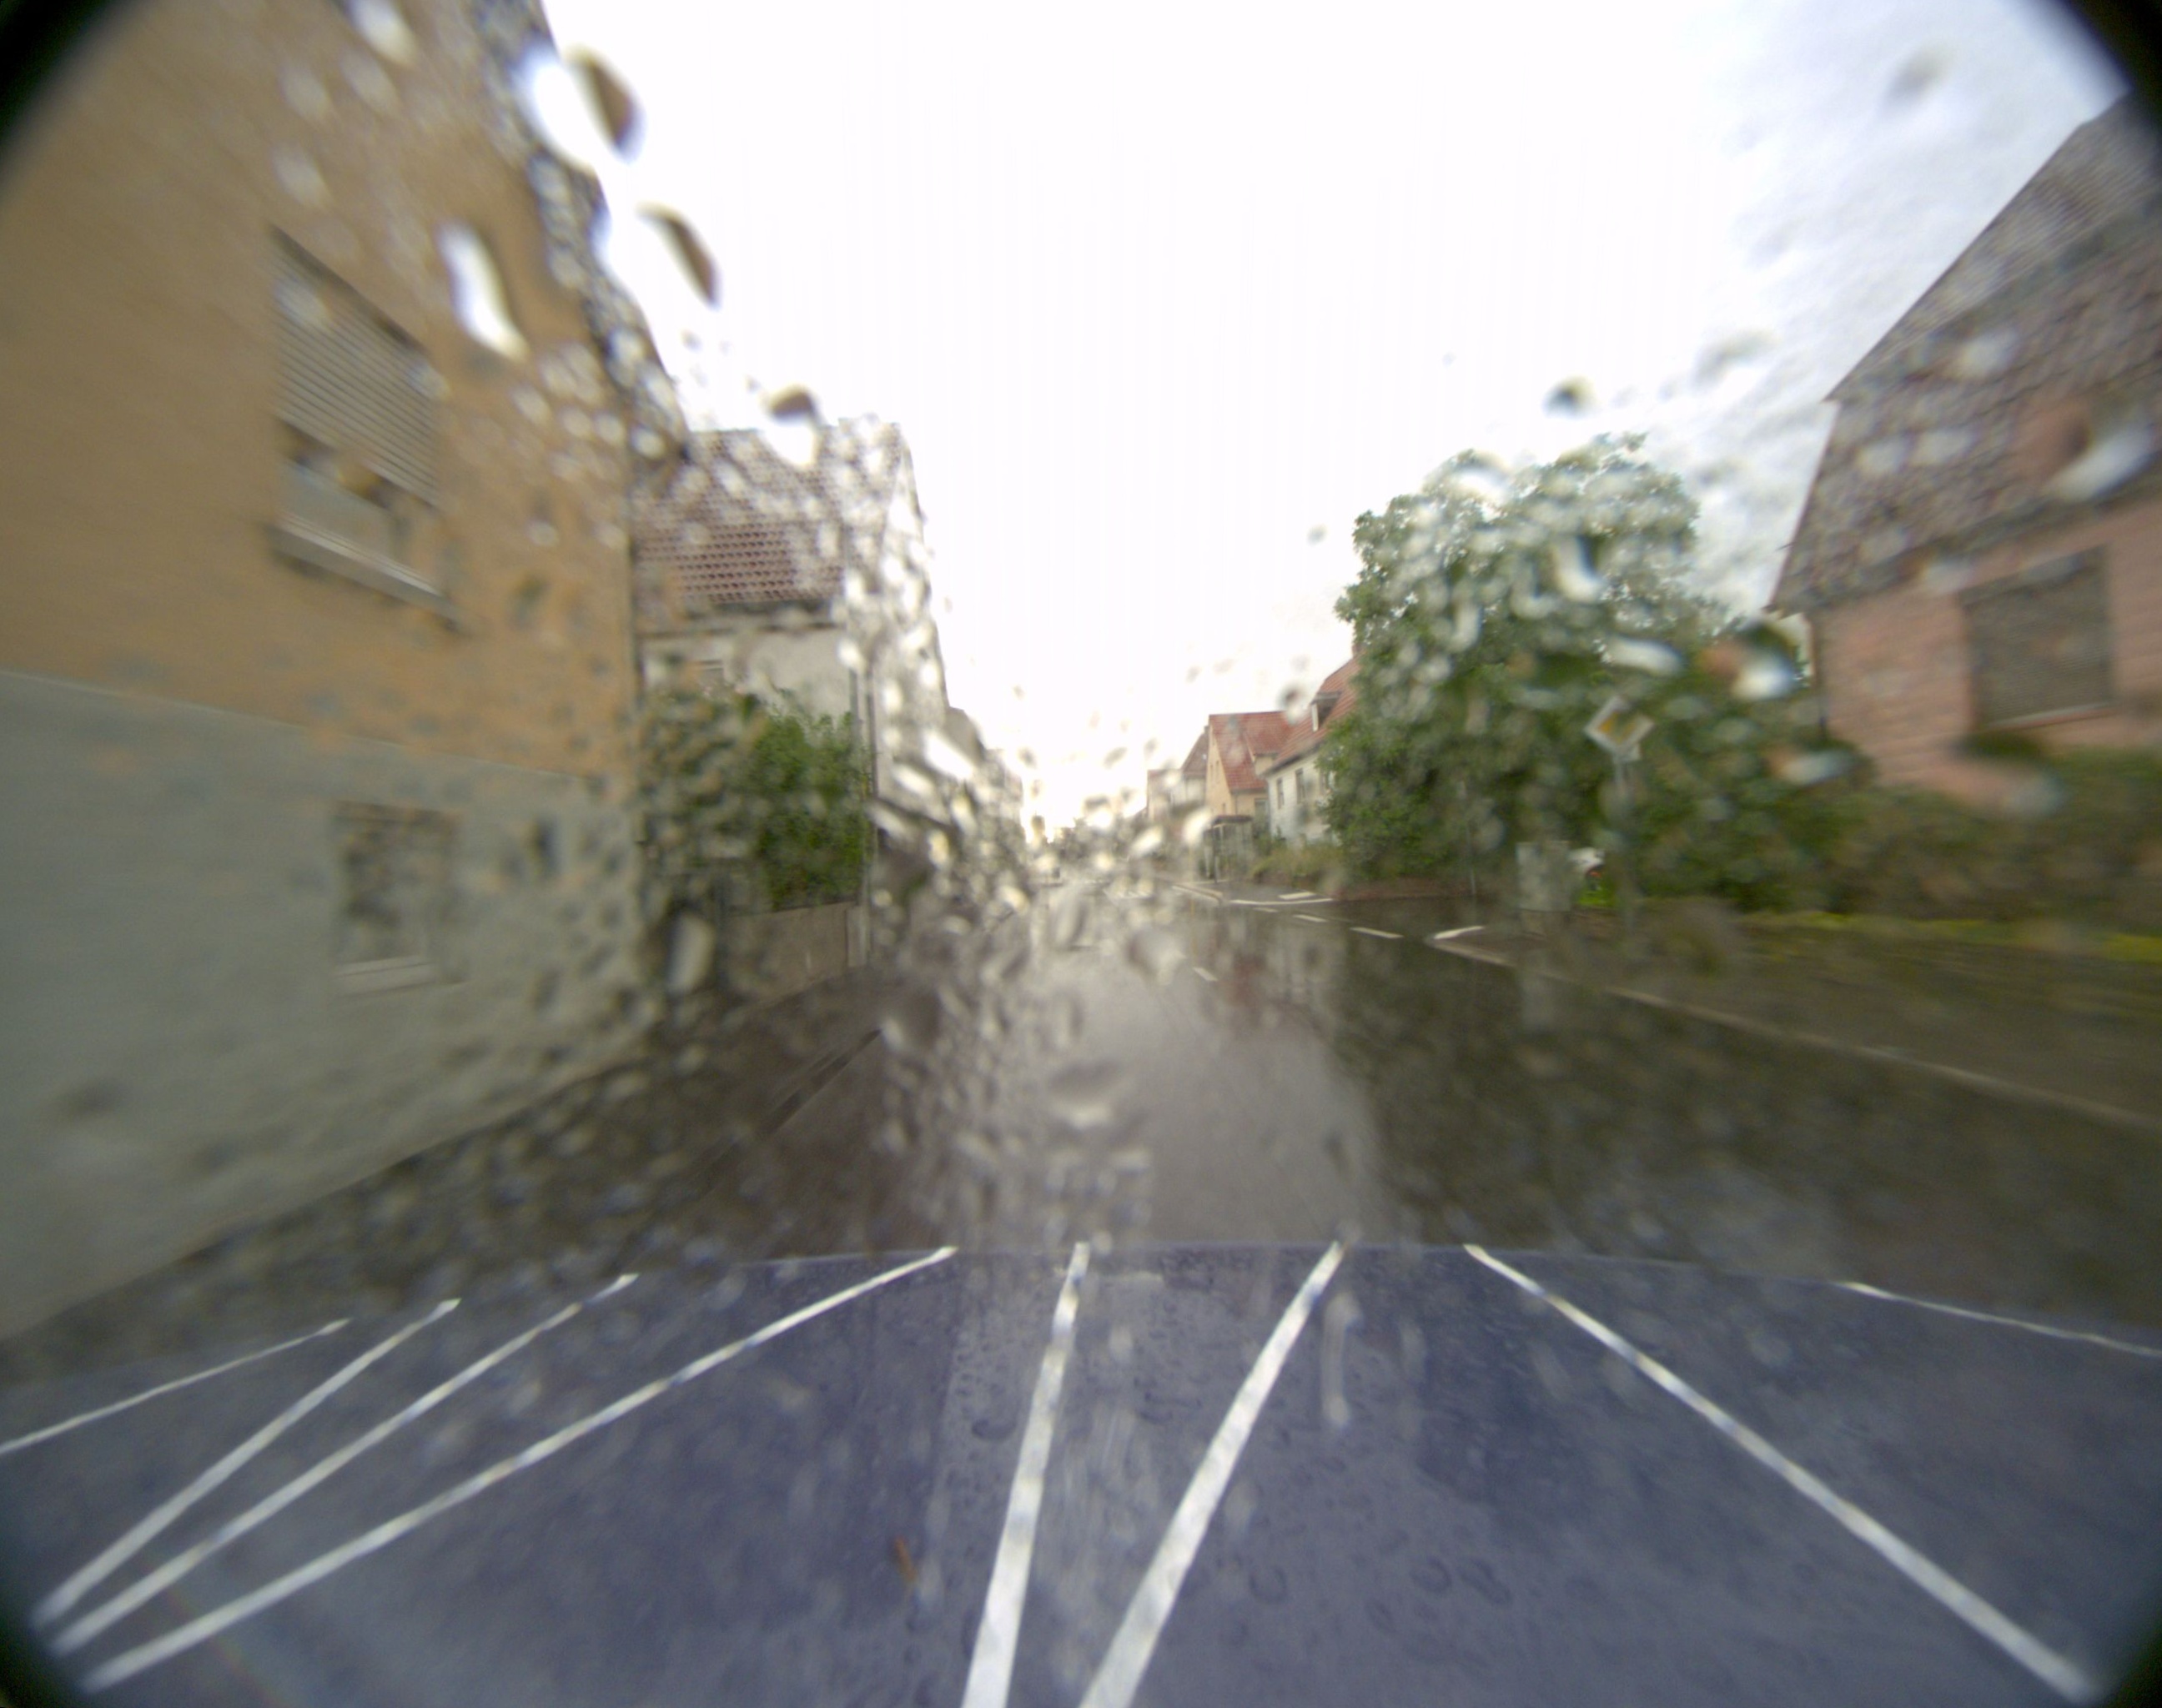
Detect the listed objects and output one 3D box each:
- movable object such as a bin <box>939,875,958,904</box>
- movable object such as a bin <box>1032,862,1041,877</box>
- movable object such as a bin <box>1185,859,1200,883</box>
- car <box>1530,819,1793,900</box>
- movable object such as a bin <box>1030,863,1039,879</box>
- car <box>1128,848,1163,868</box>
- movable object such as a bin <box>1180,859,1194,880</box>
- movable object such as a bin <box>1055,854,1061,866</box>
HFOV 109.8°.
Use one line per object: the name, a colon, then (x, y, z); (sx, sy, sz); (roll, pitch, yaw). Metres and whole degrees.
movable object such as a bin: (-4.320, 1.139, 24.739); (0.494, 0.899, 0.476); (-3, 0, 0)
movable object such as a bin: (-3.107, 1.087, 53.120); (0.569, 1.070, 0.537); (-3, 0, -2)
movable object such as a bin: (5.339, 0.800, 36.528); (0.554, 1.076, 0.527); (-6, 0, 2)
car: (12.607, 0.132, 16.793); (4.233, 1.410, 1.718); (-4, 0, 13)
movable object such as a bin: (-3.210, 1.137, 52.329); (0.569, 1.070, 0.523); (-3, 0, -2)
car: (8.505, 0.541, 100.400); (3.999, 1.963, 1.873); (9, 0, -3)
movable object such as a bin: (5.005, 0.744, 35.879); (0.469, 0.933, 0.455); (-7, -2, 2)
movable object such as a bin: (-2.458, 0.640, 81.028); (0.569, 1.179, 0.537); (-2, 0, -2)
